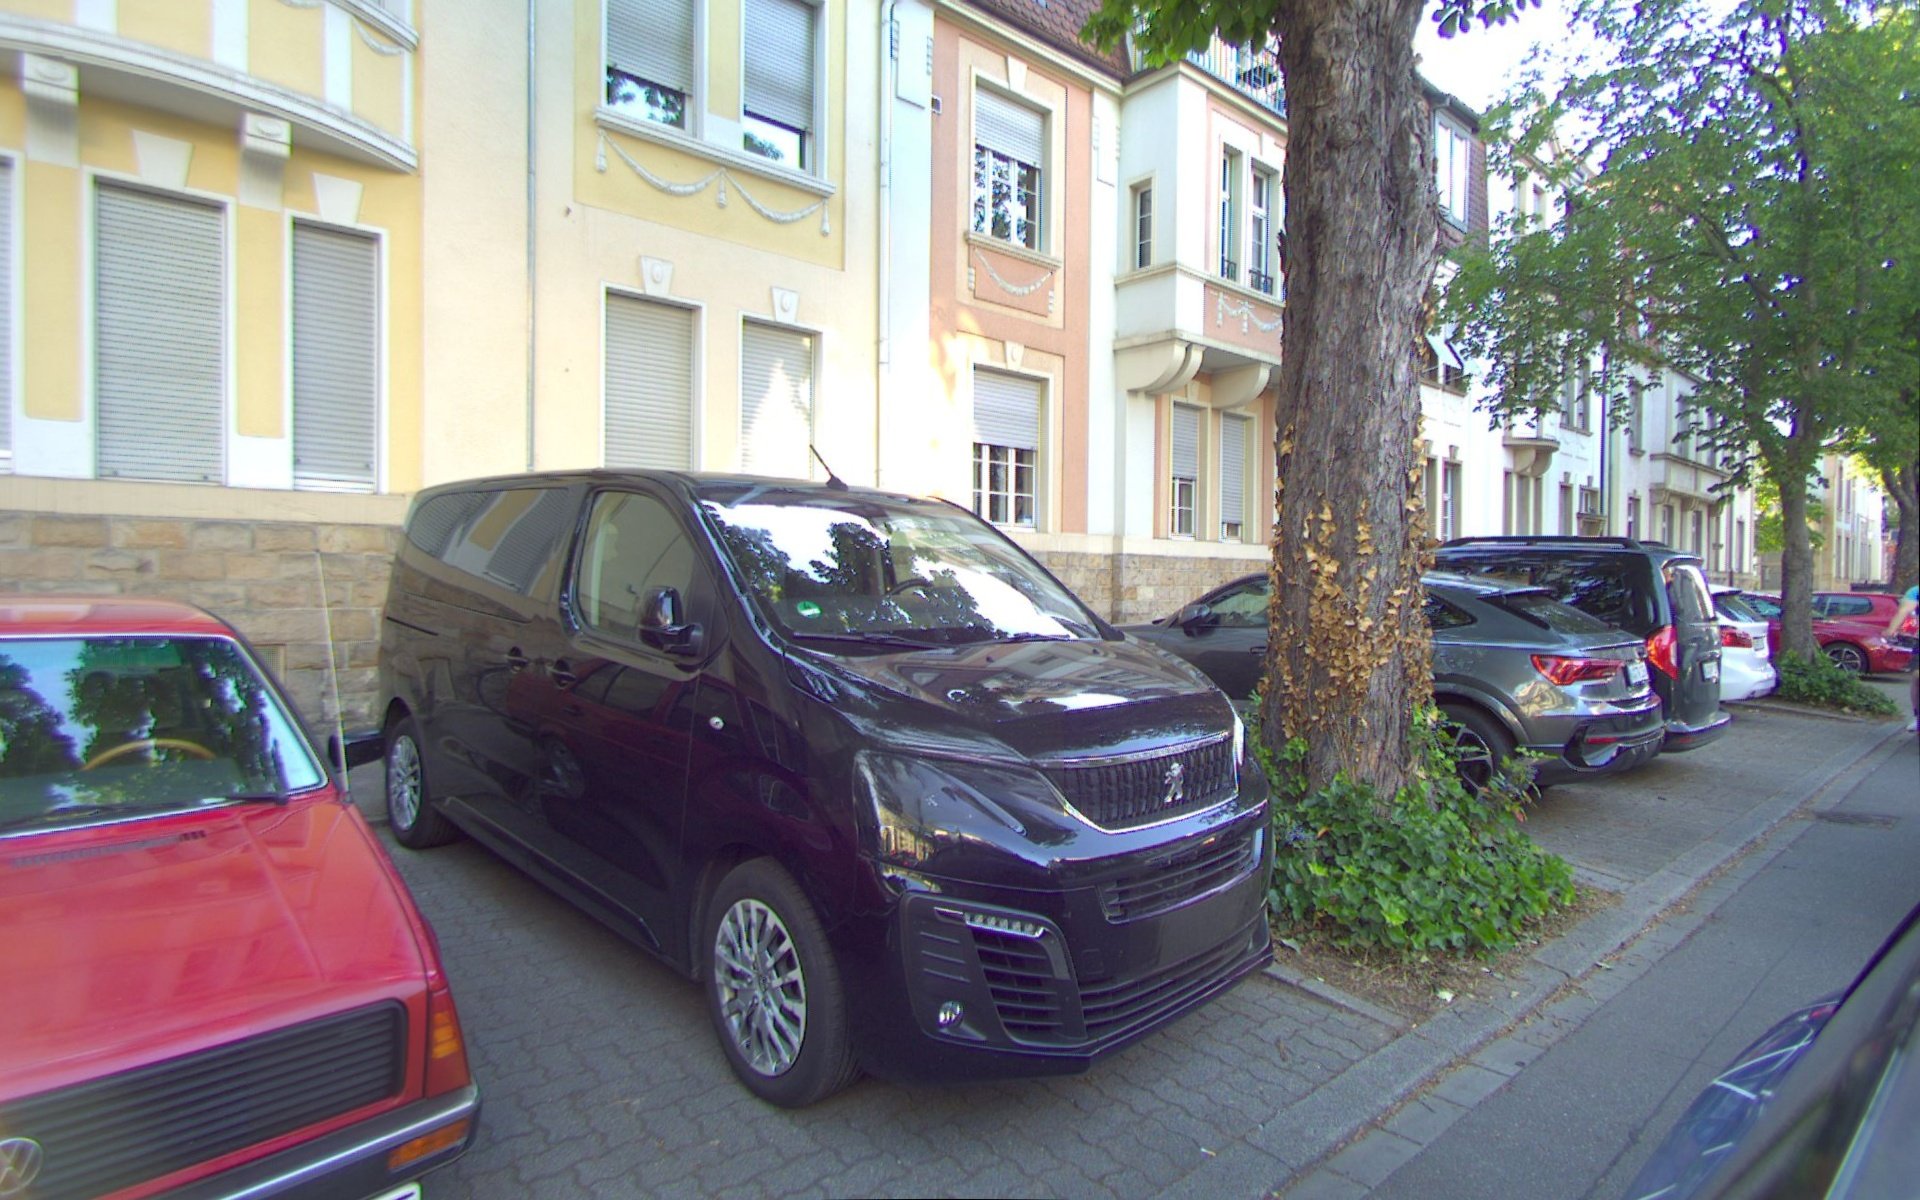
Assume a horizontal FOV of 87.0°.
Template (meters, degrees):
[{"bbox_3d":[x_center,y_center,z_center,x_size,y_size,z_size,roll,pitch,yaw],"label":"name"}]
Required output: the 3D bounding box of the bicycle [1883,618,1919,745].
[{"bbox_3d":[9.599,0.763,9.811,1.978,1.132,0.743,0,0,-41],"label":"bicycle"}]

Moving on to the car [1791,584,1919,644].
[{"bbox_3d":[24.036,0.345,26.225,1.511,1.420,3.621,0,3,-40],"label":"car"}]

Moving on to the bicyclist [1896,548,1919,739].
[{"bbox_3d":[9.466,0.405,9.688,0.816,1.797,0.648,0,0,-41],"label":"bicyclist"}]

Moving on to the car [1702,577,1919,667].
[{"bbox_3d":[16.854,0.368,19.673,1.511,1.482,3.621,0,3,-40],"label":"car"}]

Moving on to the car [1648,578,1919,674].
[{"bbox_3d":[14.748,0.377,18.213,1.511,1.420,3.621,0,3,-40],"label":"car"}]

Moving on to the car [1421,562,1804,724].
[{"bbox_3d":[7.737,0.389,12.224,1.513,1.569,3.616,-1,3,-45],"label":"car"}]

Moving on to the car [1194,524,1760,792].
[{"bbox_3d":[4.333,0.279,9.003,1.569,1.849,4.165,-1,4,-44],"label":"car"}]

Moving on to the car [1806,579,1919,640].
[{"bbox_3d":[25.916,0.251,27.985,1.511,1.584,3.621,0,2,-40],"label":"car"}]

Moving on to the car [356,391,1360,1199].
[{"bbox_3d":[-0.997,0.337,4.531,1.851,1.846,4.825,-1,4,-44],"label":"car"}]

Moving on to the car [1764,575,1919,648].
[{"bbox_3d":[21.612,0.240,24.096,1.511,1.584,3.621,0,2,-40],"label":"car"}]

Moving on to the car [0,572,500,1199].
[{"bbox_3d":[-2.817,0.651,2.976,1.532,1.336,3.917,-1,4,-43],"label":"car"}]

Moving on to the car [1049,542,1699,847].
[{"bbox_3d":[2.772,0.415,7.526,1.569,1.611,4.165,-1,4,-44],"label":"car"}]
